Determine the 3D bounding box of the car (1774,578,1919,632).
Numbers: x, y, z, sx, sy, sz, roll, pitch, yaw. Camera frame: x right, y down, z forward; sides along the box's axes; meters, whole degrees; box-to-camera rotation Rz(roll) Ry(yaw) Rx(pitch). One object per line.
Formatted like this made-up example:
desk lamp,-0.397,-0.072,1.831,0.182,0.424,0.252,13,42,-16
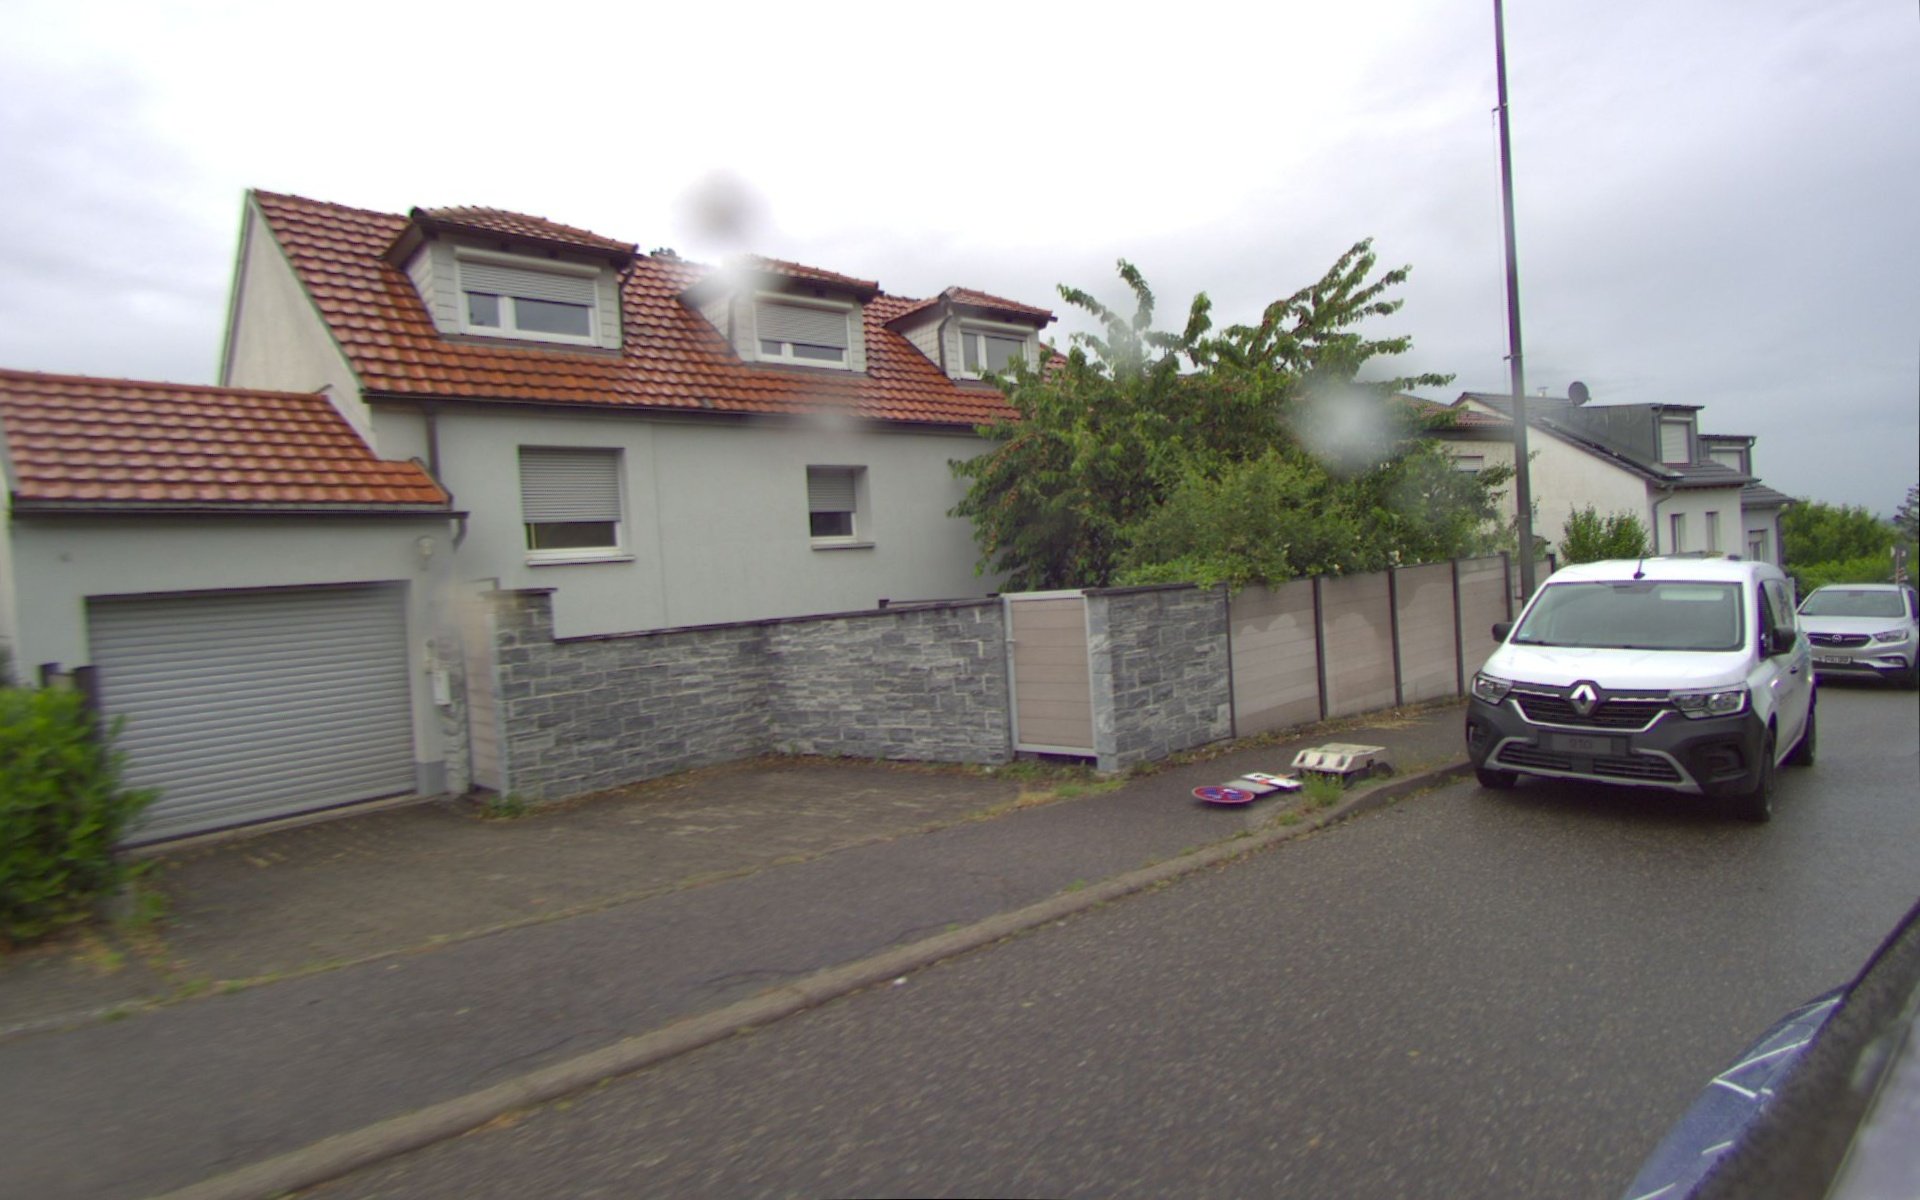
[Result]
car,31.279,0.206,35.250,1.960,1.461,4.001,-1,-6,-28

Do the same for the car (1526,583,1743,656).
car,16.505,0.442,24.940,1.898,1.609,4.001,-2,1,-33

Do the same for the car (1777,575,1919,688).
car,15.345,0.430,16.994,4.213,1.647,1.808,-1,2,-41

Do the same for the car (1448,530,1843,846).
car,5.692,0.473,8.118,4.631,1.826,1.779,-1,0,-45
